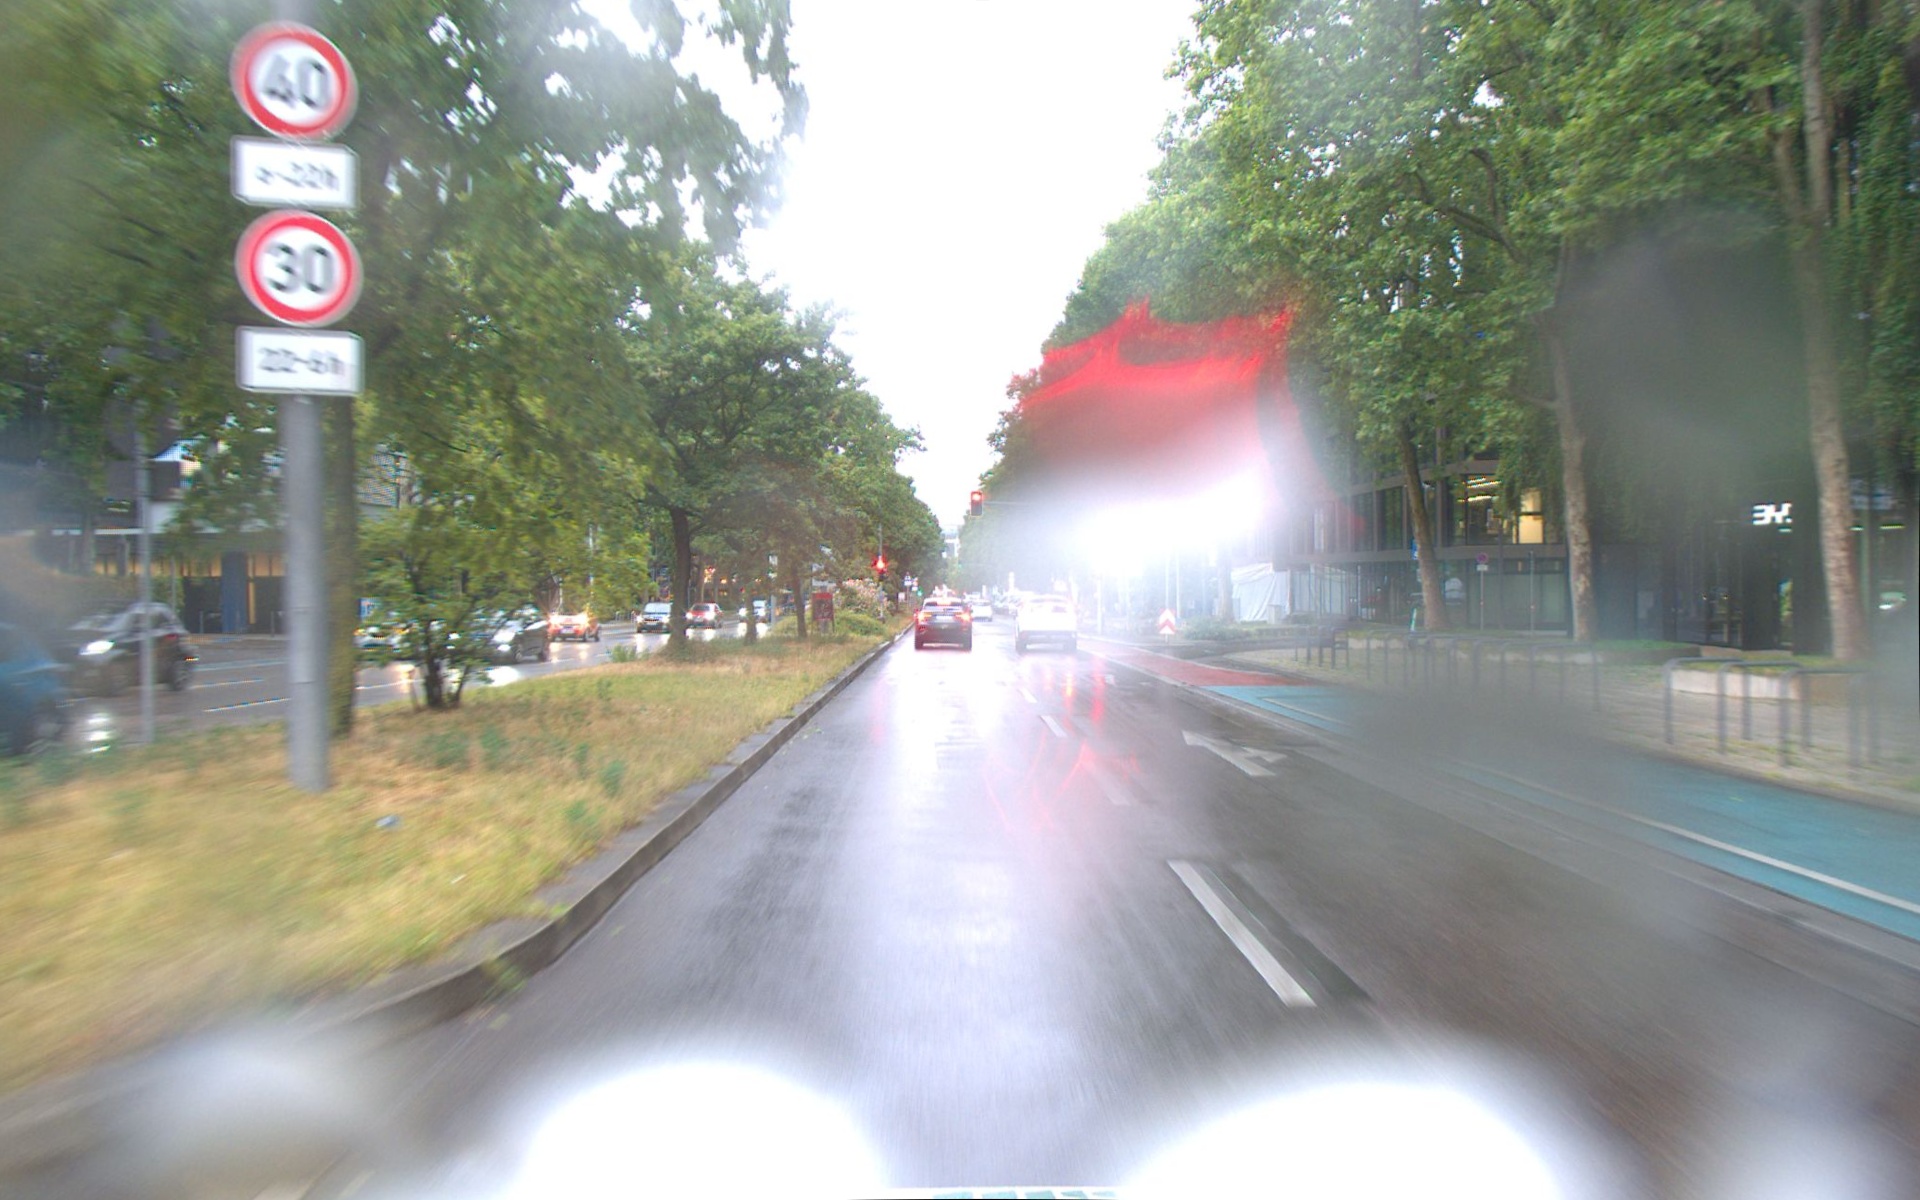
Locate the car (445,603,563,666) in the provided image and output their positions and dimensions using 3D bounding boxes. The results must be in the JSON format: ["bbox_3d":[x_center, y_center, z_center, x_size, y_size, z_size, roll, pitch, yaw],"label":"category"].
[{"bbox_3d":[-11.511,0.855,42.016,1.712,1.502,4.097,1,0,2],"label":"car"}]

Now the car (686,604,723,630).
[{"bbox_3d":[-14.786,0.982,95.943,1.581,1.418,4.183,0,1,-1],"label":"car"}]

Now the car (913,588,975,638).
[{"bbox_3d":[-0.520,0.374,52.864,1.879,1.517,3.999,-1,0,-1],"label":"car"}]

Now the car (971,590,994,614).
[{"bbox_3d":[1.705,0.137,125.813,1.587,1.695,3.999,-1,1,-1],"label":"car"}]

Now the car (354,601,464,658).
[{"bbox_3d":[-14.939,0.766,45.000,1.806,1.454,3.642,-1,0,-1],"label":"car"}]

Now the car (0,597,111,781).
[{"bbox_3d":[-9.086,0.791,13.784,1.806,1.507,4.396,1,2,-1],"label":"car"}]

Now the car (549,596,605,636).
[{"bbox_3d":[-14.752,0.608,63.783,1.463,1.489,2.732,-1,1,0],"label":"car"}]

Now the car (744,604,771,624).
[{"bbox_3d":[-14.454,1.009,118.190,1.581,1.418,3.596,0,0,-1],"label":"car"}]

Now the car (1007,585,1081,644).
[{"bbox_3d":[2.562,0.399,51.332,1.953,1.684,4.888,0,1,-1],"label":"car"}]

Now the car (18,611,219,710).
[{"bbox_3d":[-13.585,0.940,26.878,1.683,1.391,3.048,1,2,1],"label":"car"}]

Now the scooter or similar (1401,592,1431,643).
[{"bbox_3d":[11.464,0.431,41.586,0.374,1.249,1.075,0,0,35],"label":"scooter or similar"}]

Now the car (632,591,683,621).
[{"bbox_3d":[-14.726,0.276,80.713,1.806,1.414,3.999,-1,0,-1],"label":"car"}]
